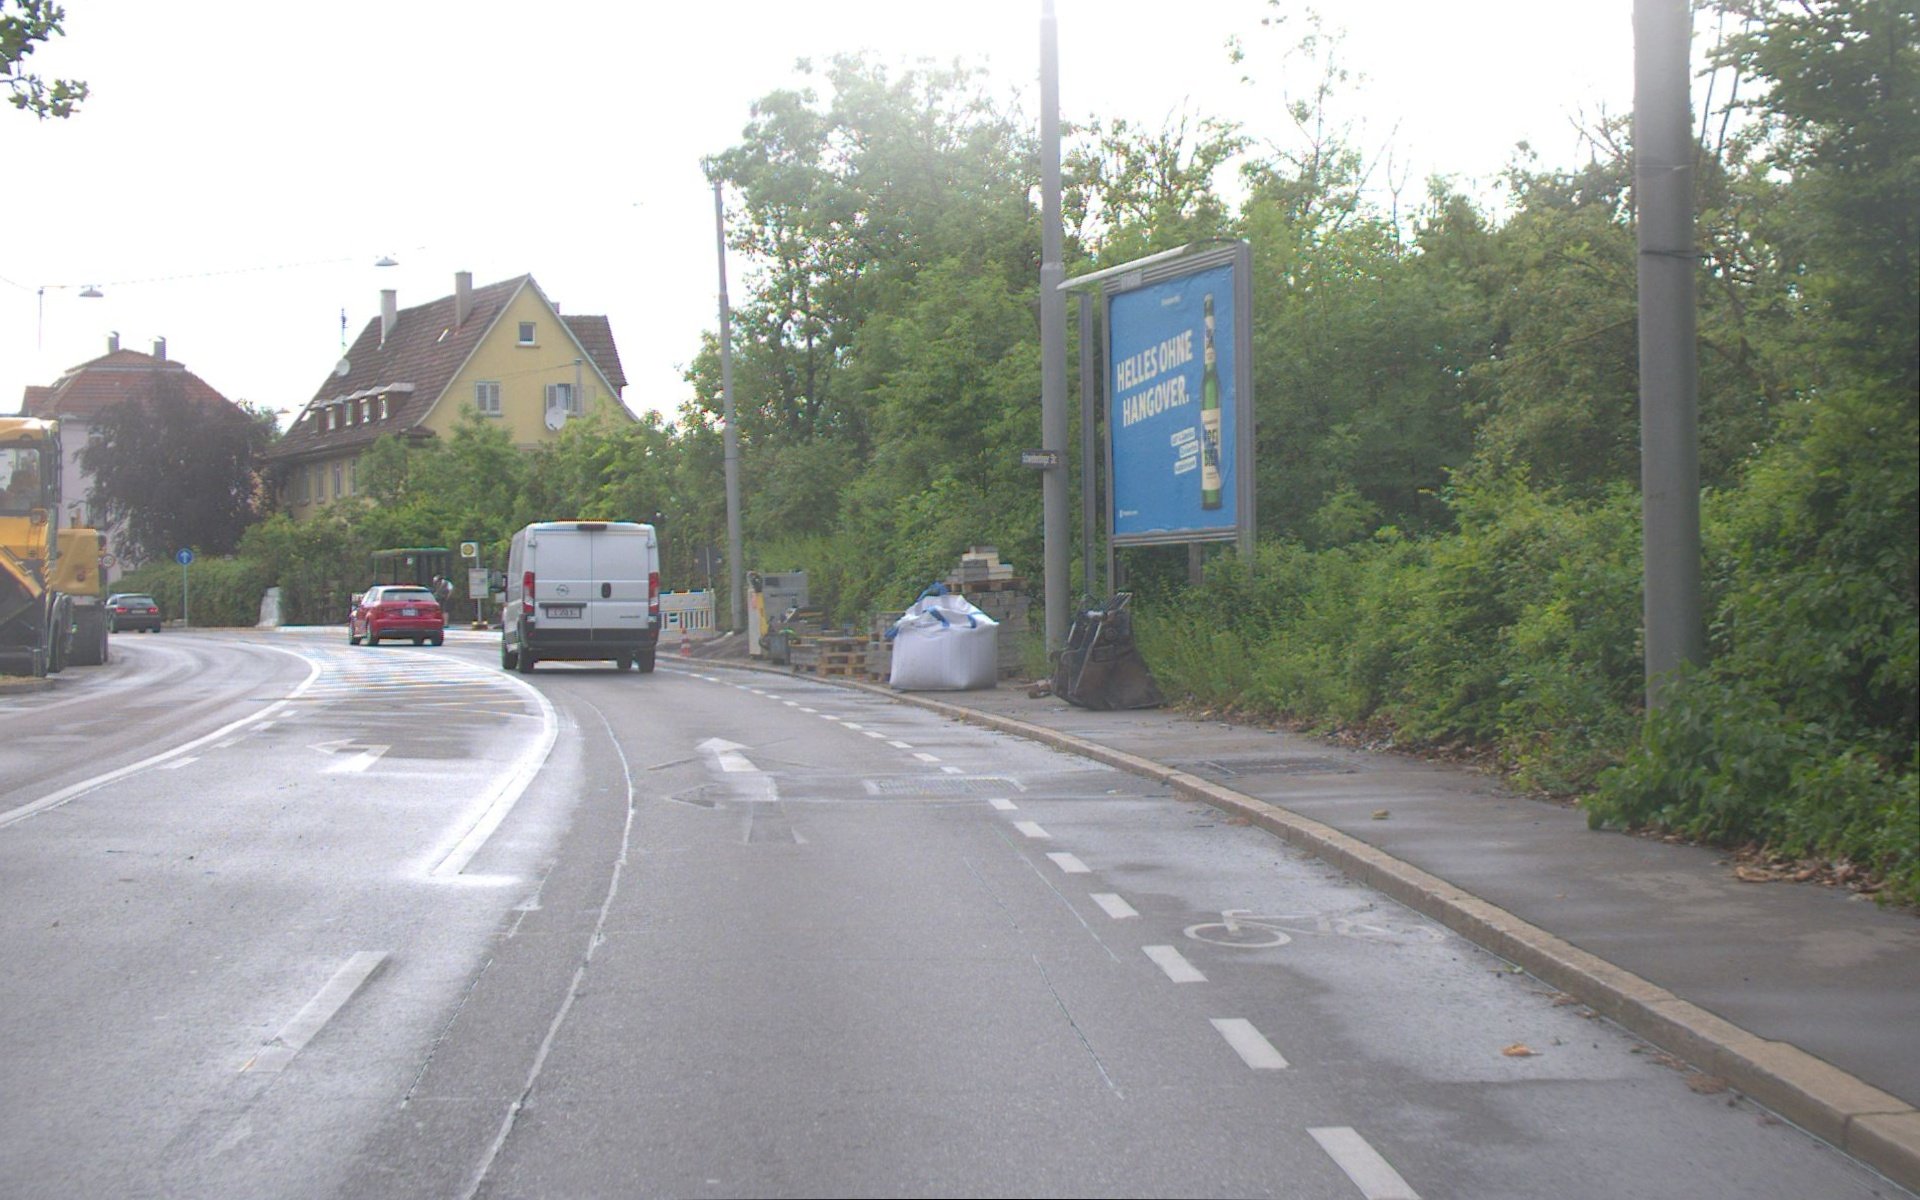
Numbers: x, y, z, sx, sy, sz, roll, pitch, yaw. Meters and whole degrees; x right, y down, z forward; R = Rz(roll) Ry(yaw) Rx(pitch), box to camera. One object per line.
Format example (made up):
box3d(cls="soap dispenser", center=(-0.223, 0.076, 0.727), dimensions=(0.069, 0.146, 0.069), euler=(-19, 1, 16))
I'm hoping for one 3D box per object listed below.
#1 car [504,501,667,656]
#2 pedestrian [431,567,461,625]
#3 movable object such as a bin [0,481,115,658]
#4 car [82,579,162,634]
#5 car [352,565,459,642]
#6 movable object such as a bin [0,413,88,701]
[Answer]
box3d(cls="car", center=(-5.781, -0.375, 52.595), dimensions=(2.237, 2.205, 4.715), euler=(1, 2, -9))
box3d(cls="pedestrian", center=(-15.765, -0.122, 105.428), dimensions=(0.905, 1.725, 0.654), euler=(0, 2, -10))
box3d(cls="movable object such as a bin", center=(-17.241, -0.608, 63.842), dimensions=(2.870, 3.162, 4.127), euler=(0, 2, -12))
box3d(cls="car", center=(-29.721, 0.214, 121.823), dimensions=(2.237, 1.798, 4.715), euler=(0, 2, -20))
box3d(cls="car", center=(-13.204, 0.053, 81.717), dimensions=(2.237, 1.651, 4.715), euler=(0, 2, -12))
box3d(cls="movable object such as a bin", center=(-14.123, -0.687, 48.826), dimensions=(2.774, 3.842, 5.989), euler=(1, 2, -9))
